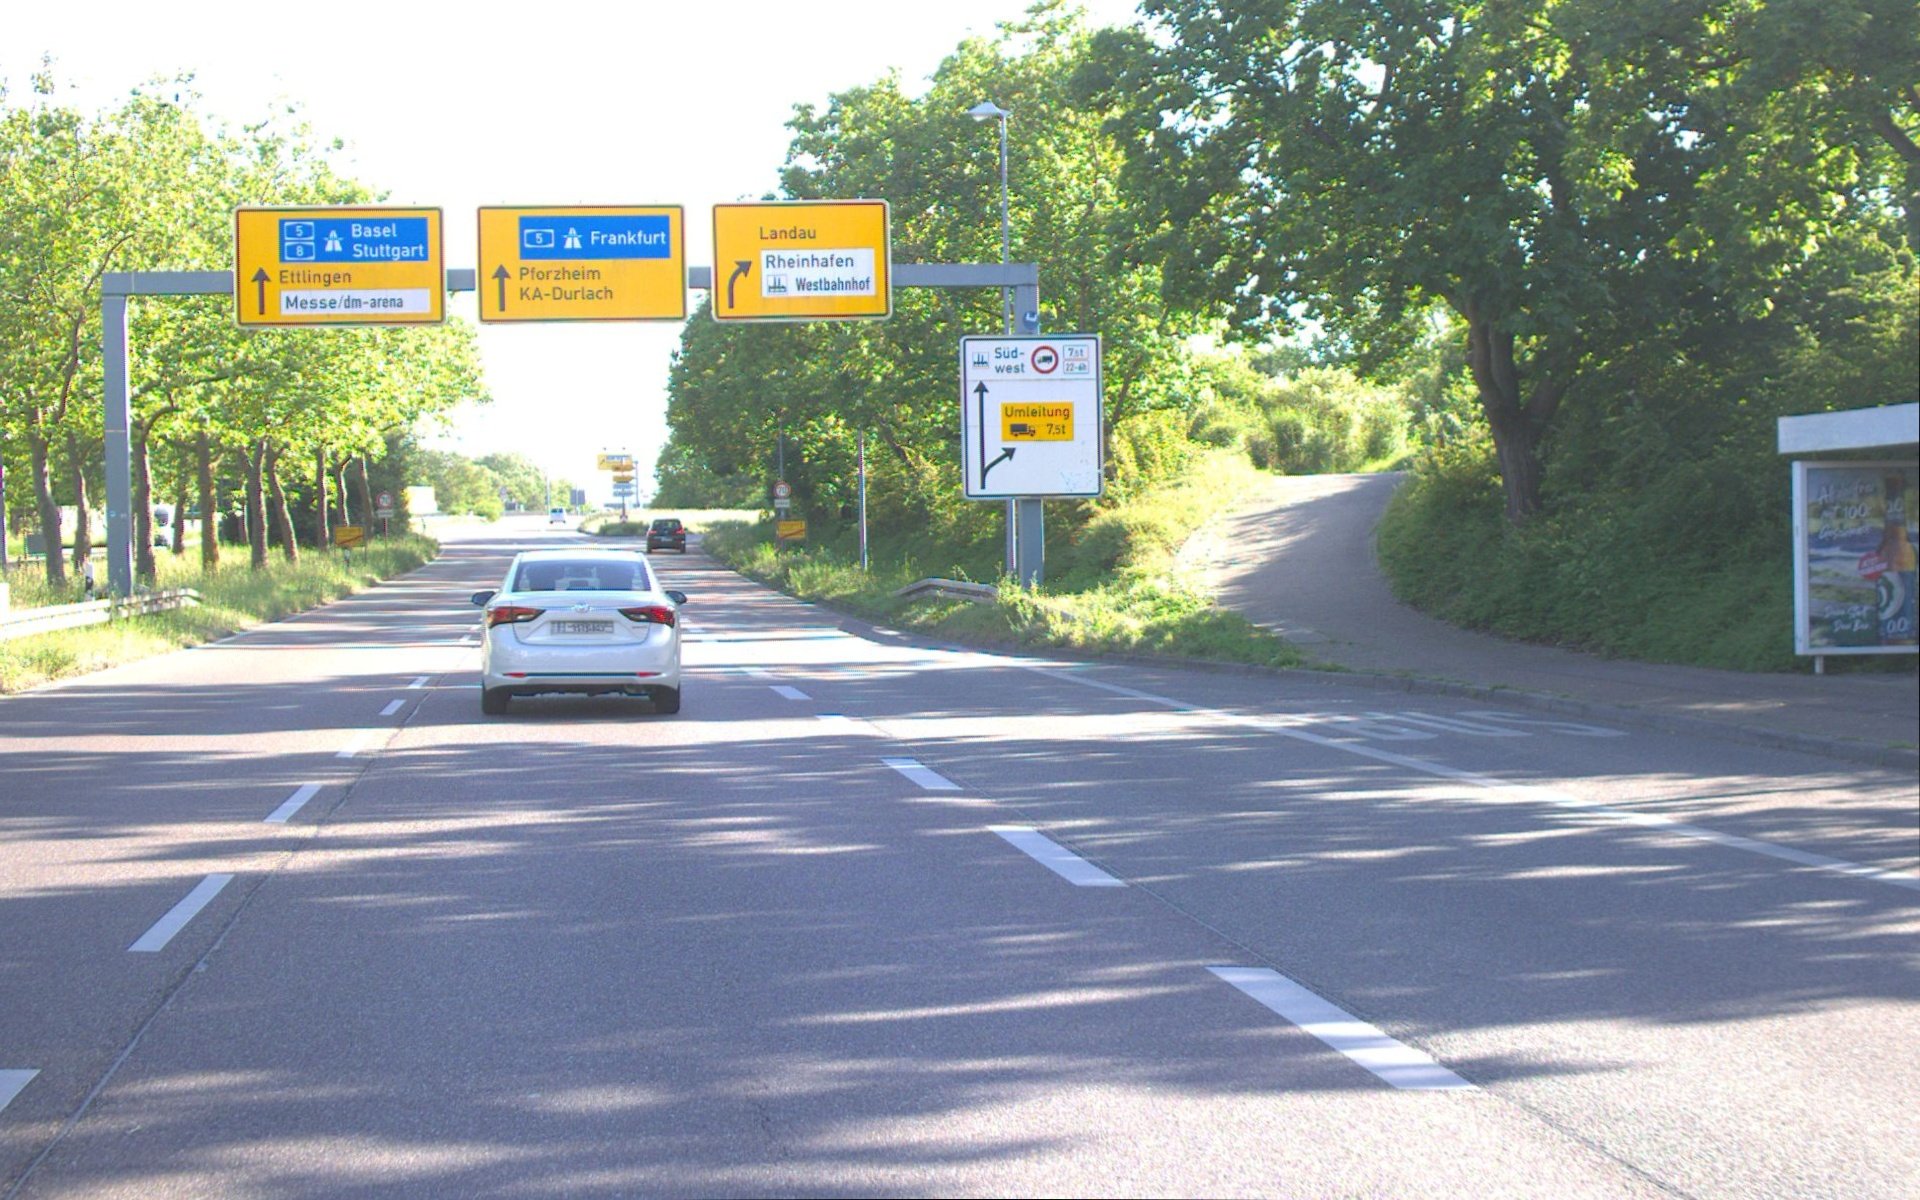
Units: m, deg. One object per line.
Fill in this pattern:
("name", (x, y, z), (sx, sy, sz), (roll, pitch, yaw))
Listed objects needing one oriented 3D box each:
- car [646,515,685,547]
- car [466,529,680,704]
("car", (-13.761, -3.243, 160.678), (1.767, 1.459, 4.367), (-1, 2, -5))
("car", (-3.534, 0.097, 31.988), (1.767, 1.459, 4.367), (-1, 2, -4))
